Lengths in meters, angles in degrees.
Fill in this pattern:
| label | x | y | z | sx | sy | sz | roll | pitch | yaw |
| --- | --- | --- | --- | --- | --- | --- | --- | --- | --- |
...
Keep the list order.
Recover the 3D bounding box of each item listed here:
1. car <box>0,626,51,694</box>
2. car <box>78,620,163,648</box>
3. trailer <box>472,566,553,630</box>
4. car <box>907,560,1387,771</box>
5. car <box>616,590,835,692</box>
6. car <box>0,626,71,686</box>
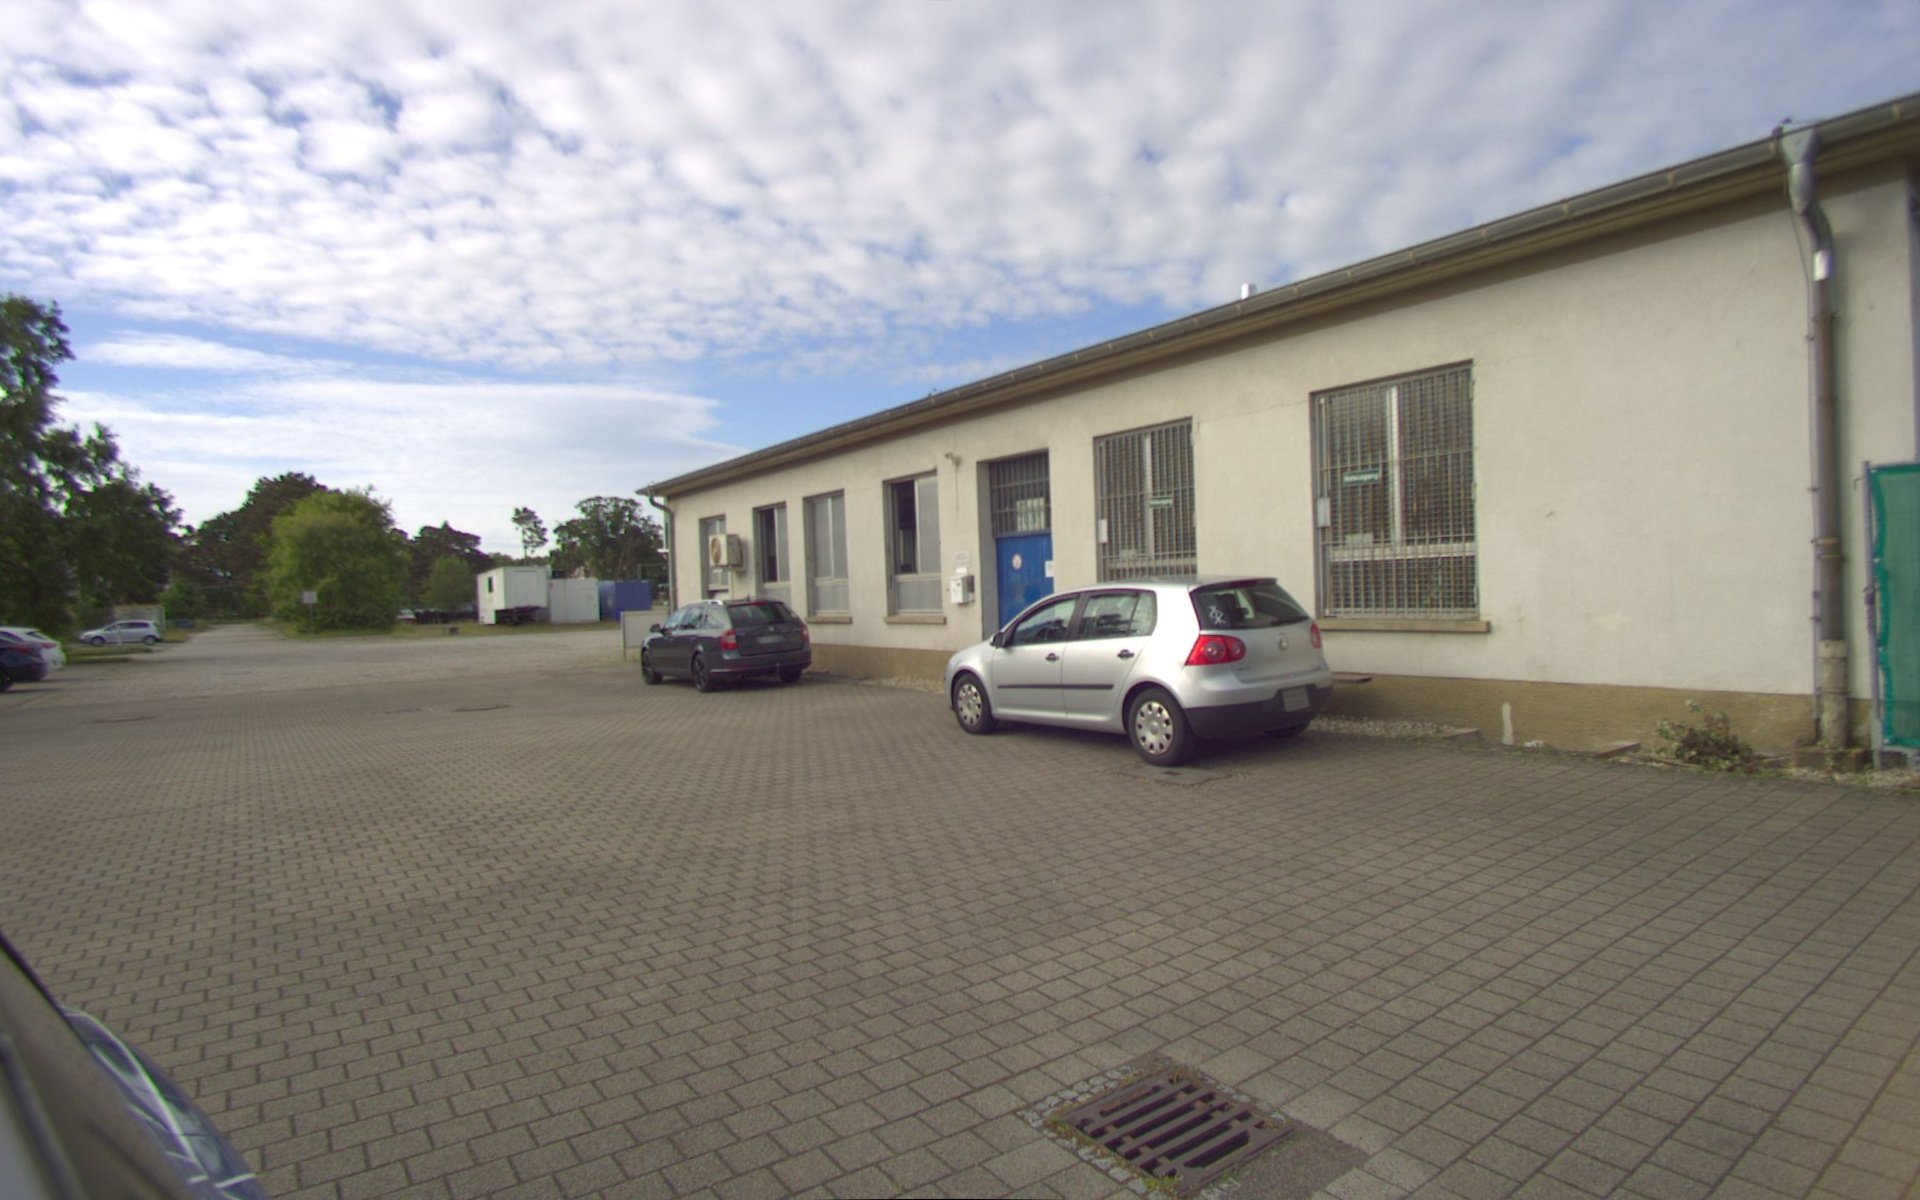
| label | x | y | z | sx | sy | sz | roll | pitch | yaw |
| --- | --- | --- | --- | --- | --- | --- | --- | --- | --- |
| car | -22.720 | 1.359 | 21.847 | 4.405 | 1.458 | 1.949 | -1 | 0 | -36 |
| car | -52.782 | 2.128 | 63.729 | 4.068 | 1.637 | 1.943 | 0 | 0 | -38 |
| trailer | -28.559 | -0.042 | 64.251 | 2.830 | 3.689 | 10.806 | -2 | 0 | -33 |
| car | 1.478 | 0.488 | 9.612 | 1.899 | 1.450 | 4.379 | -4 | 1 | -34 |
| car | -4.229 | 0.661 | 17.634 | 1.899 | 1.472 | 4.822 | -3 | 0 | -37 |
| car | -25.721 | 1.490 | 26.147 | 3.923 | 1.477 | 1.887 | -2 | 0 | -36 |
